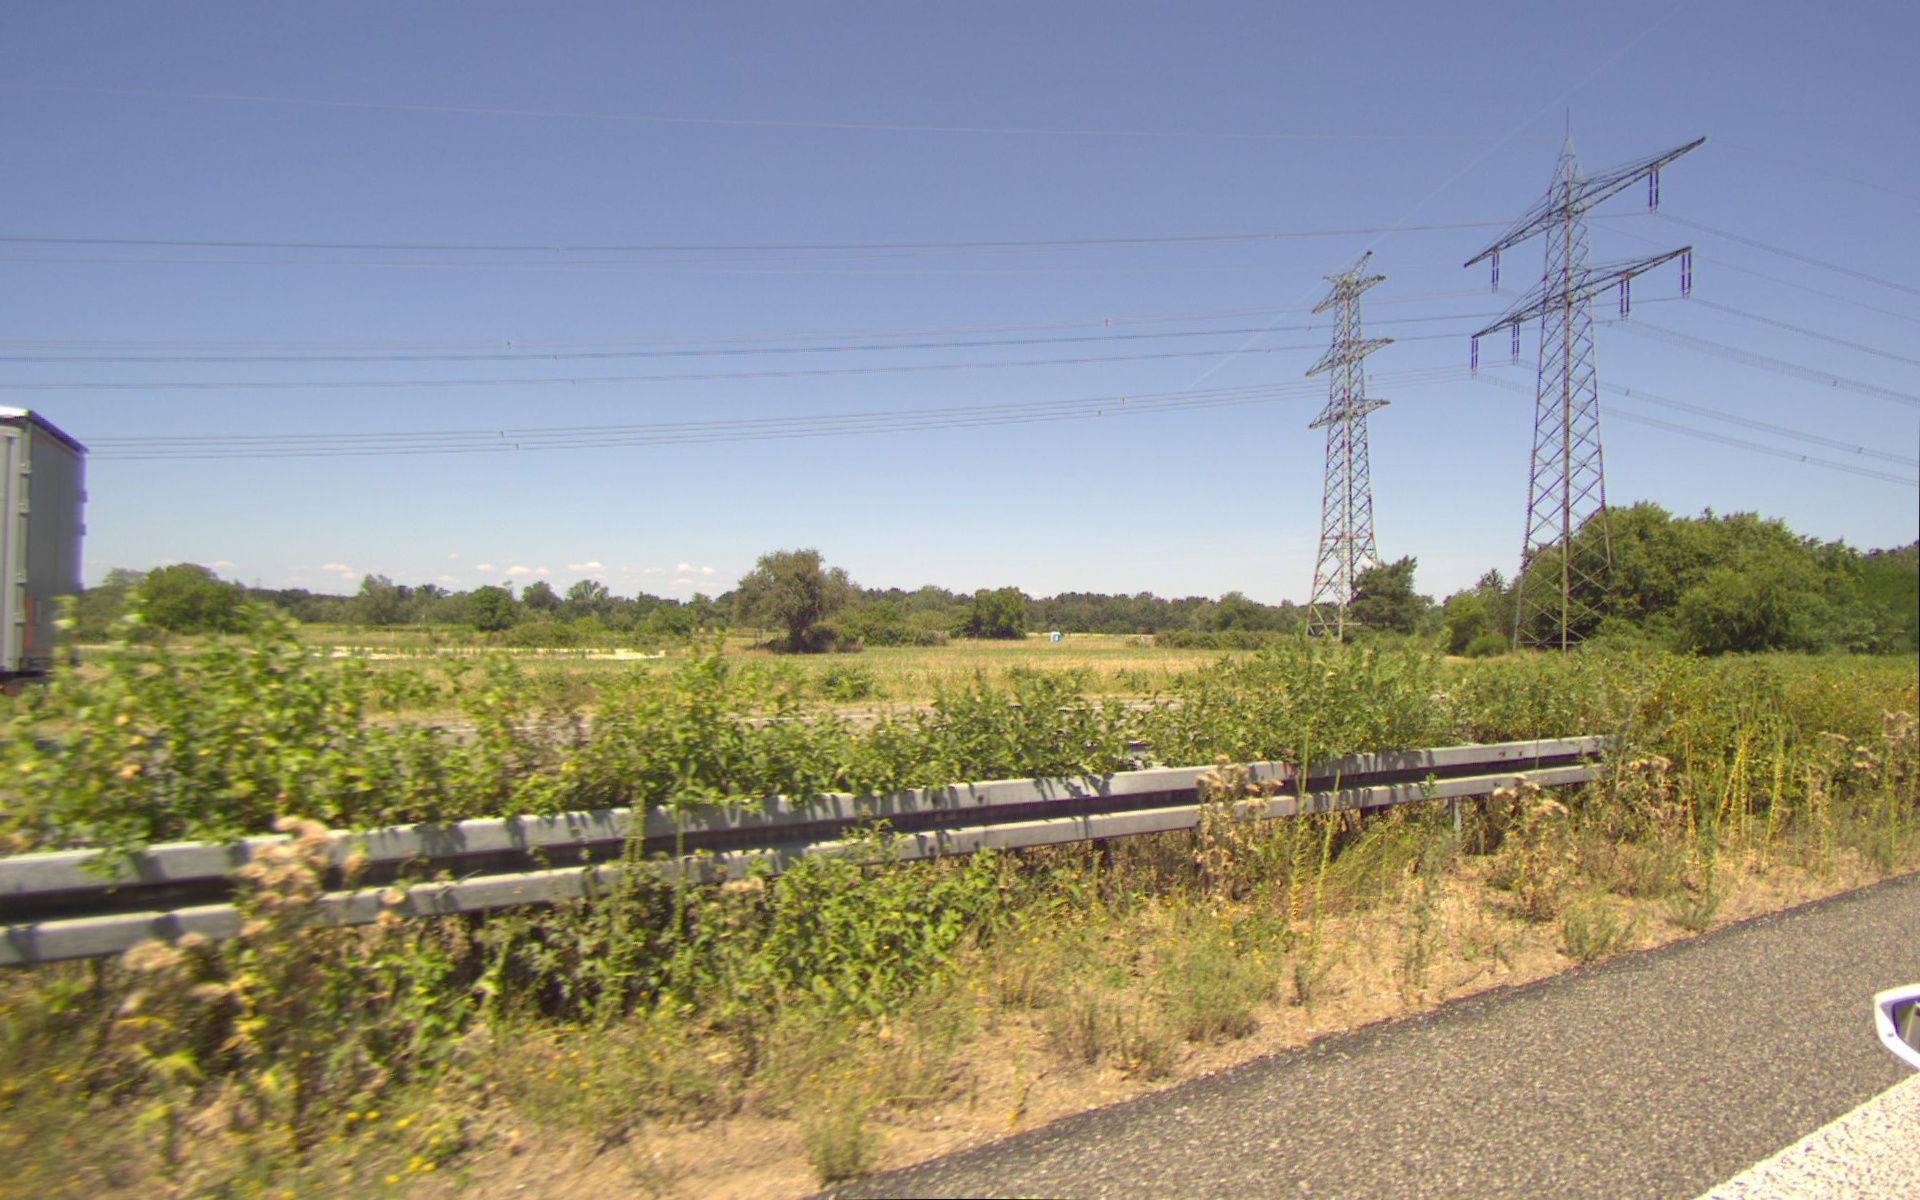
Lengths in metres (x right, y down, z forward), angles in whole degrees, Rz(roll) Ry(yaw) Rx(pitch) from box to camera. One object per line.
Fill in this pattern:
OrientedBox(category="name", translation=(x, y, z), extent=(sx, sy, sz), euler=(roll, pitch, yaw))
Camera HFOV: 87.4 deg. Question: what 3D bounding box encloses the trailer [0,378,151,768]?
OrientedBox(category="trailer", translation=(-17.197, -0.388, 9.664), extent=(14.156, 4.466, 3.352), euler=(2, -4, -31))
